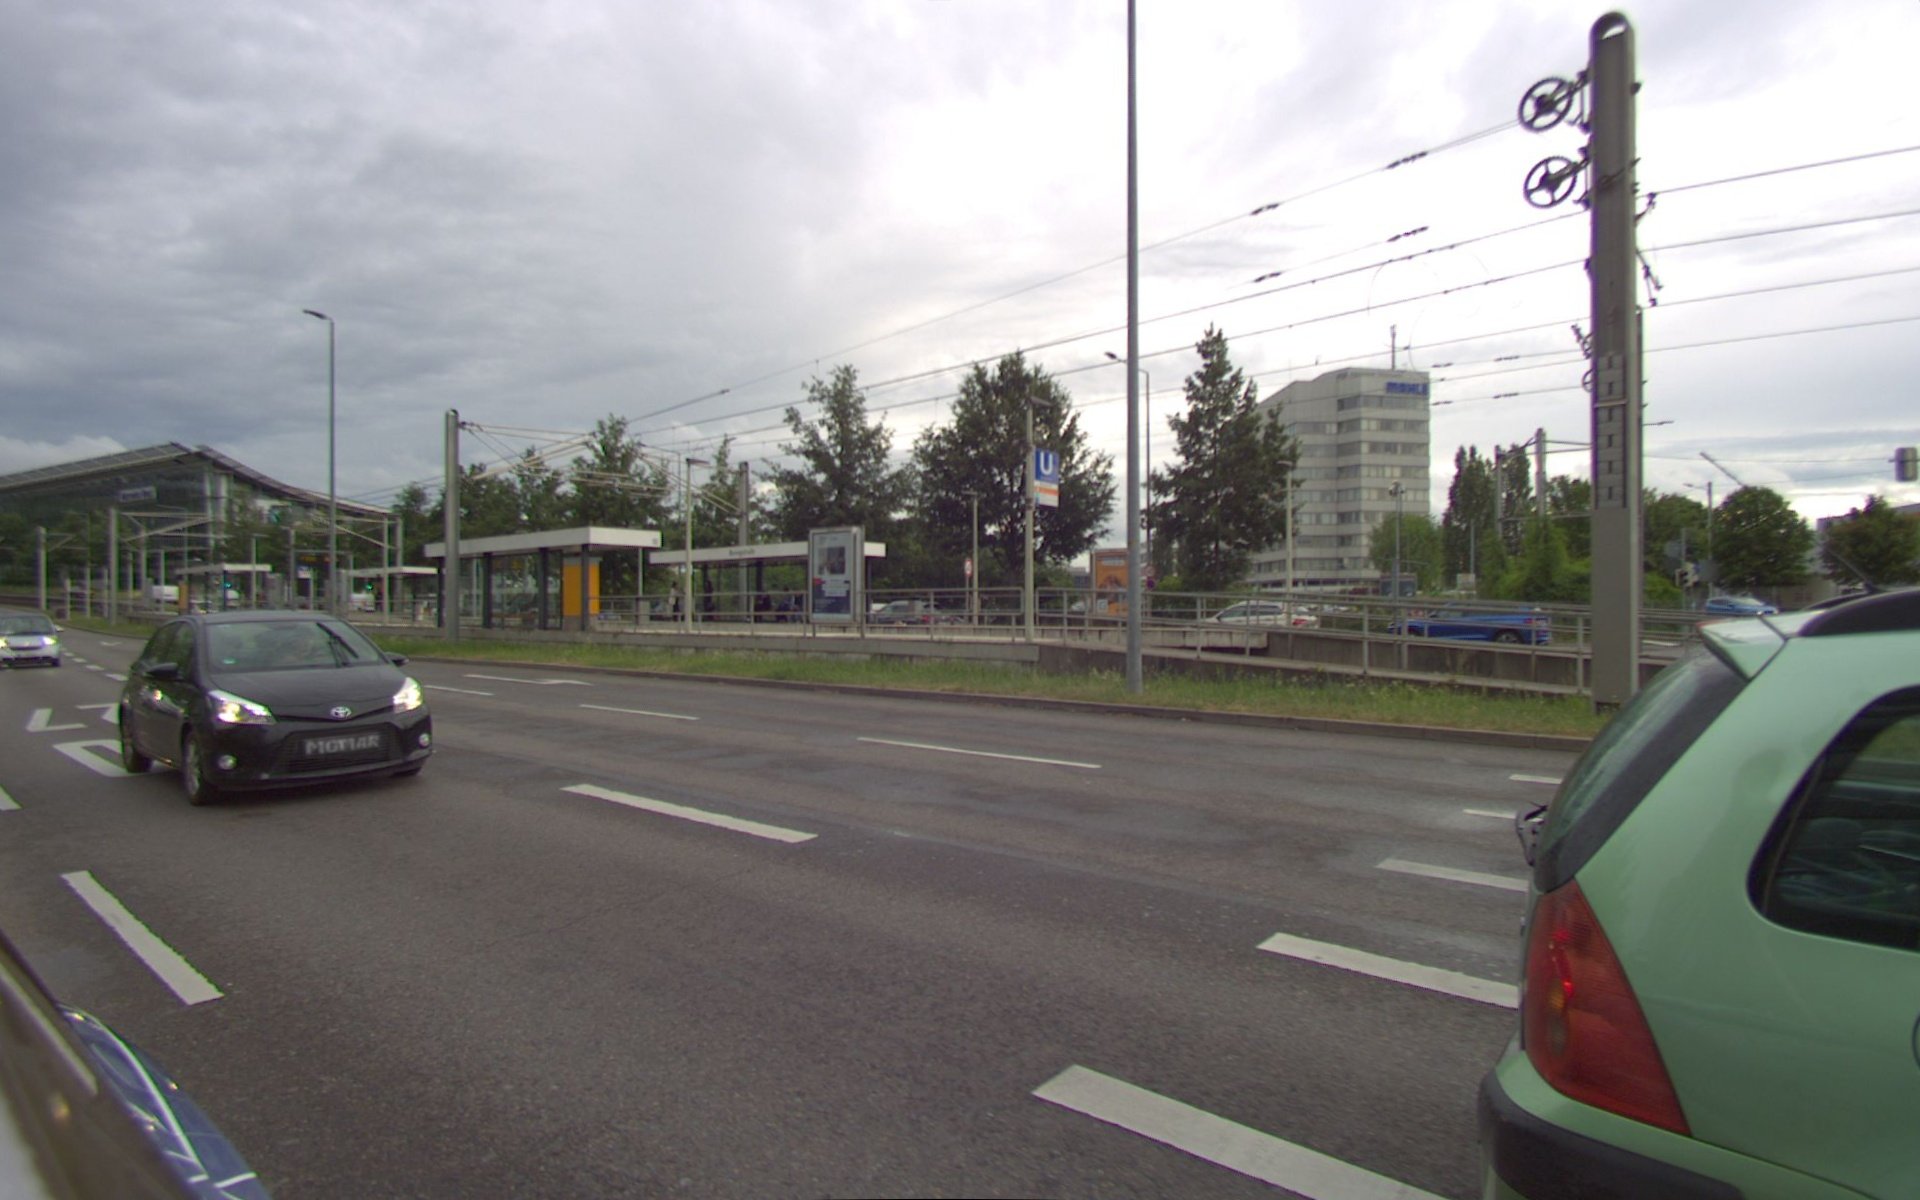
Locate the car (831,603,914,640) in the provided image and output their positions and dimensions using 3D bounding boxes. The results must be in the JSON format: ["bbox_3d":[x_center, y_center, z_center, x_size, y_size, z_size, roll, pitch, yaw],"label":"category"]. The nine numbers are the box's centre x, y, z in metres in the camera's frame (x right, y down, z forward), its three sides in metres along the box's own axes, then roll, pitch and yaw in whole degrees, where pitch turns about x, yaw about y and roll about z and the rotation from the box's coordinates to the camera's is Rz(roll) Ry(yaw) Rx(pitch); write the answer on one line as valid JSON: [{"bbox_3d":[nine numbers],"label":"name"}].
[{"bbox_3d":[-4.295,1.011,49.130,4.079,1.639,1.556,0,2,40],"label":"car"}]

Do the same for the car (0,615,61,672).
[{"bbox_3d":[-27.246,1.226,29.346,1.714,1.489,4.005,-2,1,-42],"label":"car"}]

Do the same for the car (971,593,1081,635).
[{"bbox_3d":[2.548,0.495,39.596,3.996,1.514,1.769,0,2,40],"label":"car"}]

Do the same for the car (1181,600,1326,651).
[{"bbox_3d":[9.426,0.764,32.621,4.149,1.473,1.722,0,2,40],"label":"car"}]

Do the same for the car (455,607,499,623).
[{"bbox_3d":[-37.138,1.133,77.796,3.931,1.139,1.511,0,2,39],"label":"car"}]

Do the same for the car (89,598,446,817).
[{"bbox_3d":[-6.375,0.816,9.151,3.901,1.534,1.676,-2,0,40],"label":"car"}]

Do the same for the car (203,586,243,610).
[{"bbox_3d":[-70.594,-0.206,96.904,5.142,2.231,1.973,0,2,42],"label":"car"}]

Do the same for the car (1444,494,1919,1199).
[{"bbox_3d":[3.026,0.575,0.932,4.399,1.479,1.678,0,2,39],"label":"car"}]

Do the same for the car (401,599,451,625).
[{"bbox_3d":[-36.425,0.804,68.969,4.267,1.679,1.512,0,2,41],"label":"car"}]

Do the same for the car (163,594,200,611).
[{"bbox_3d":[-81.403,0.248,105.779,5.026,1.744,1.974,0,2,40],"label":"car"}]

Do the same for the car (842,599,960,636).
[{"bbox_3d":[-2.293,0.620,38.686,4.410,1.273,1.889,0,2,40],"label":"car"}]

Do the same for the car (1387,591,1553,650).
[{"bbox_3d":[15.658,0.577,31.167,4.312,1.640,1.976,0,2,37],"label":"car"}]
